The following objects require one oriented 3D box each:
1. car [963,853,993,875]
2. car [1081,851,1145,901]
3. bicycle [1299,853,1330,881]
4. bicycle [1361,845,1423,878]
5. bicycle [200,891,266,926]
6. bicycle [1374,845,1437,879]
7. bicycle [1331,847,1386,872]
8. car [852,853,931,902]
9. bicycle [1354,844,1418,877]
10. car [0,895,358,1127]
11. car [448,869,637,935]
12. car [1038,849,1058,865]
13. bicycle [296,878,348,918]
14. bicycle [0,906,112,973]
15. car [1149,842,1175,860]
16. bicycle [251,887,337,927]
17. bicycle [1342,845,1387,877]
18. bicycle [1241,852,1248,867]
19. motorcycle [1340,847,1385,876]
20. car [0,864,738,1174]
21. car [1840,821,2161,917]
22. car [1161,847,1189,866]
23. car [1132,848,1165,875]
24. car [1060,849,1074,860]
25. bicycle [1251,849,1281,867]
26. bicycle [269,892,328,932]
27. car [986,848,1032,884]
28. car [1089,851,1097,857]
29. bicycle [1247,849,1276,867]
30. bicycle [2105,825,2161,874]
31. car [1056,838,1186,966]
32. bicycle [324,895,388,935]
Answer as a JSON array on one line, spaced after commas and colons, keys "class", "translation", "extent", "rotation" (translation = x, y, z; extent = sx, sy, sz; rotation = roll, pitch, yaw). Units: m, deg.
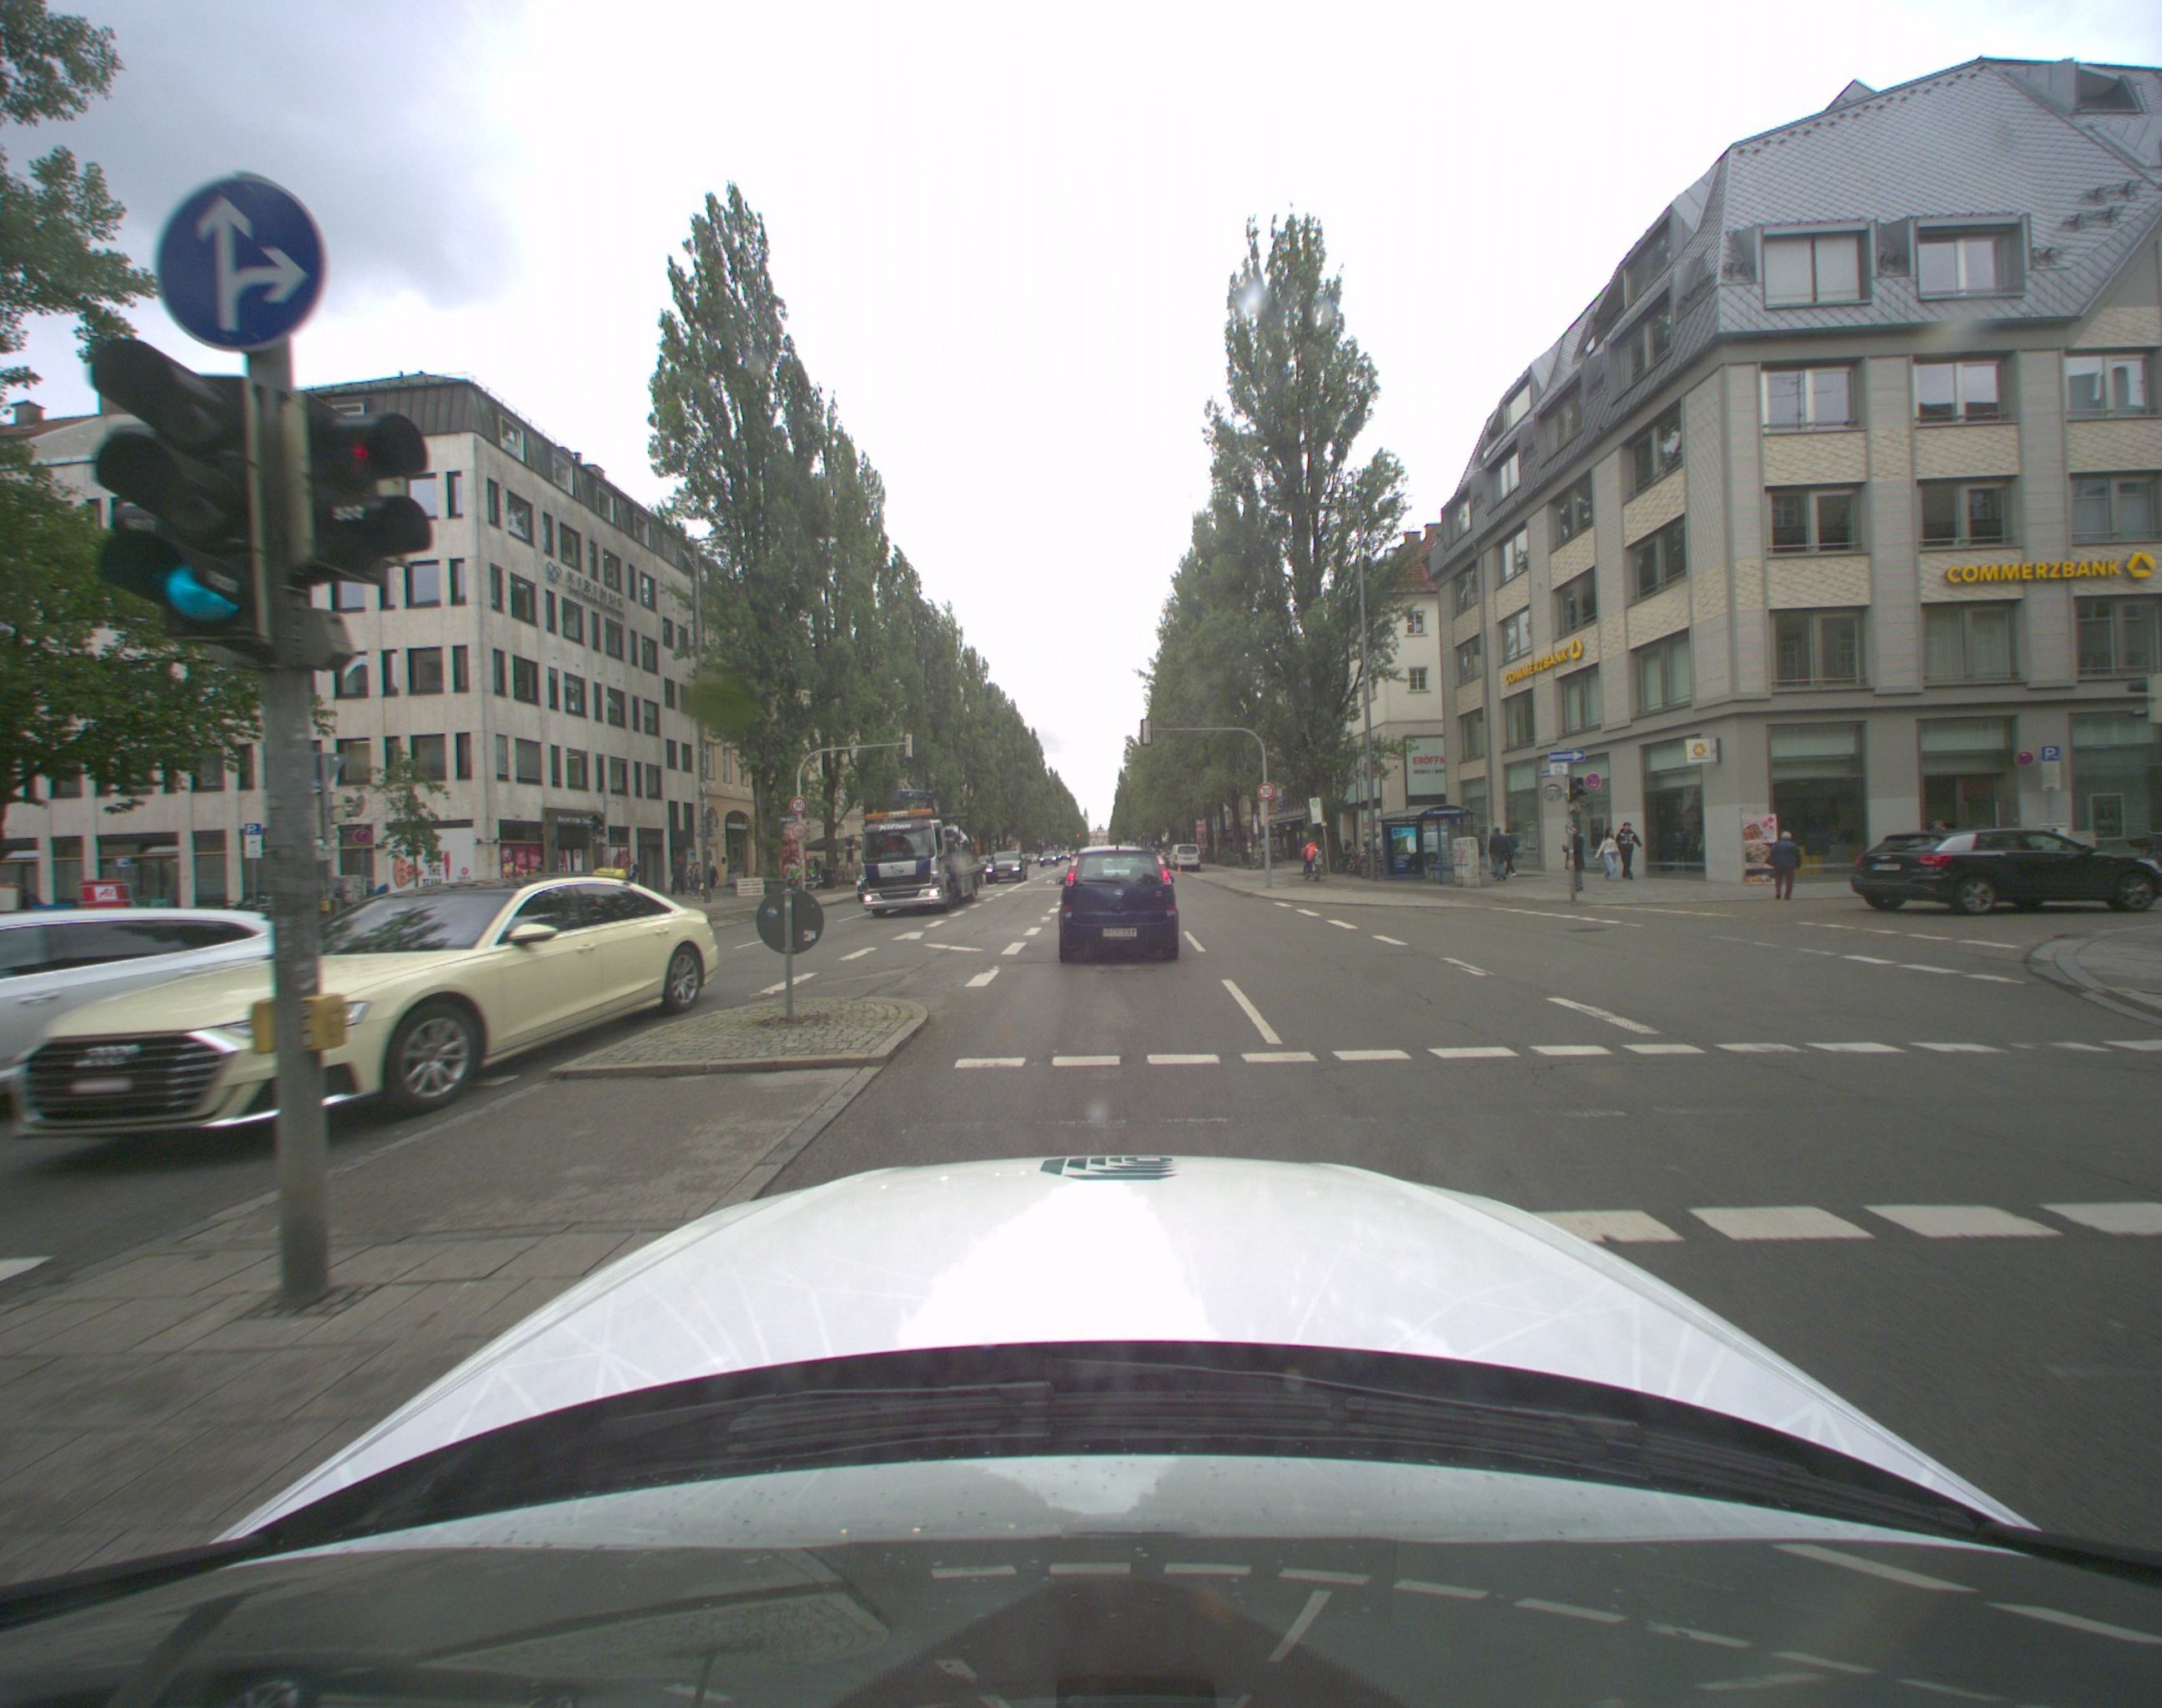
[{"class": "car", "translation": [-9.041, 0.847, 71.886], "extent": [1.812, 1.617, 4.720], "rotation": [-1, 2, 3]}, {"class": "car", "translation": [1.038, 0.710, 28.079], "extent": [1.987, 1.497, 4.000], "rotation": [-2, 0, 0]}, {"class": "bicycle", "translation": [9.620, 0.504, 33.641], "extent": [0.624, 1.086, 2.264], "rotation": [-3, 0, 1]}, {"class": "bicycle", "translation": [12.584, 0.305, 32.973], "extent": [2.307, 1.252, 0.477], "rotation": [-2, 0, 0]}, {"class": "bicycle", "translation": [-27.045, 1.747, 25.977], "extent": [2.043, 1.047, 0.418], "rotation": [-2, 0, 12]}, {"class": "bicycle", "translation": [12.621, 0.304, 31.693], "extent": [2.219, 1.252, 0.480], "rotation": [-2, 0, 25]}, {"class": "bicycle", "translation": [12.371, 0.224, 36.324], "extent": [2.140, 1.017, 0.874], "rotation": [-2, 0, 1]}, {"class": "car", "translation": [-7.473, 0.862, 32.527], "extent": [1.830, 1.716, 4.638], "rotation": [-3, 0, 2]}, {"class": "bicycle", "translation": [12.558, 0.276, 33.567], "extent": [2.335, 1.252, 0.633], "rotation": [-2, 0, 0]}, {"class": "car", "translation": [-8.121, 1.161, 5.715], "extent": [1.816, 1.408, 4.633], "rotation": [-3, 0, 1]}, {"class": "car", "translation": [-14.071, 1.222, 21.480], "extent": [3.686, 1.475, 1.769], "rotation": [-2, 0, -5]}, {"class": "car", "translation": [-3.562, 0.315, 88.956], "extent": [1.906, 1.680, 4.587], "rotation": [-2, 0, 1]}, {"class": "bicycle", "translation": [-25.029, 1.427, 26.898], "extent": [0.416, 1.184, 1.996], "rotation": [-2, 0, -18]}, {"class": "bicycle", "translation": [-21.397, 1.735, 16.818], "extent": [0.414, 1.184, 2.059], "rotation": [-2, 0, -5]}, {"class": "car", "translation": [7.523, -0.301, 75.811], "extent": [1.812, 1.506, 4.229], "rotation": [-3, 0, -2]}, {"class": "bicycle", "translation": [-26.059, 1.731, 27.028], "extent": [0.412, 1.184, 2.073], "rotation": [-2, 0, 18]}, {"class": "bicycle", "translation": [11.893, 0.295, 34.197], "extent": [1.718, 1.239, 0.450], "rotation": [-2, 0, 2]}, {"class": "bicycle", "translation": [11.453, 0.371, 57.092], "extent": [0.362, 1.038, 1.735], "rotation": [-2, 0, 9]}, {"class": "motorcycle", "translation": [11.985, 0.326, 34.715], "extent": [1.718, 1.139, 0.510], "rotation": [-2, 0, 2]}, {"class": "car", "translation": [-4.988, 0.931, 6.941], "extent": [1.837, 1.501, 4.987], "rotation": [-3, 0, 1]}, {"class": "car", "translation": [16.499, 0.242, 14.652], "extent": [3.971, 1.461, 1.760], "rotation": [-2, 0, 2]}, {"class": "car", "translation": [7.480, 0.188, 65.041], "extent": [1.714, 1.442, 4.352], "rotation": [0, 0, -1]}, {"class": "car", "translation": [4.224, 0.434, 51.667], "extent": [1.701, 1.574, 3.999], "rotation": [-2, 0, 0]}, {"class": "car", "translation": [-2.163, 0.091, 125.313], "extent": [1.928, 1.623, 4.337], "rotation": [-2, 0, 1]}, {"class": "bicycle", "translation": [11.753, 0.236, 51.729], "extent": [1.758, 1.044, 0.482], "rotation": [-2, 0, -11]}, {"class": "bicycle", "translation": [-26.656, 1.957, 27.787], "extent": [0.450, 1.184, 2.053], "rotation": [-2, 0, -14]}, {"class": "car", "translation": [-3.834, 0.604, 44.051], "extent": [1.877, 1.746, 4.441], "rotation": [-2, 0, 2]}, {"class": "car", "translation": [3.169, -0.057, 218.895], "extent": [1.955, 1.399, 3.779], "rotation": [-3, 0, 1]}, {"class": "bicycle", "translation": [11.622, 0.261, 52.438], "extent": [1.737, 1.110, 0.447], "rotation": [-2, 0, -9]}, {"class": "bicycle", "translation": [27.716, -0.134, 21.234], "extent": [1.737, 1.212, 0.447], "rotation": [-2, 0, -9]}, {"class": "car", "translation": [0.549, 0.618, 12.773], "extent": [1.675, 1.641, 4.000], "rotation": [-1, 0, 0]}, {"class": "bicycle", "translation": [-24.179, 2.014, 27.213], "extent": [0.414, 1.184, 2.029], "rotation": [-2, 0, -5]}]
